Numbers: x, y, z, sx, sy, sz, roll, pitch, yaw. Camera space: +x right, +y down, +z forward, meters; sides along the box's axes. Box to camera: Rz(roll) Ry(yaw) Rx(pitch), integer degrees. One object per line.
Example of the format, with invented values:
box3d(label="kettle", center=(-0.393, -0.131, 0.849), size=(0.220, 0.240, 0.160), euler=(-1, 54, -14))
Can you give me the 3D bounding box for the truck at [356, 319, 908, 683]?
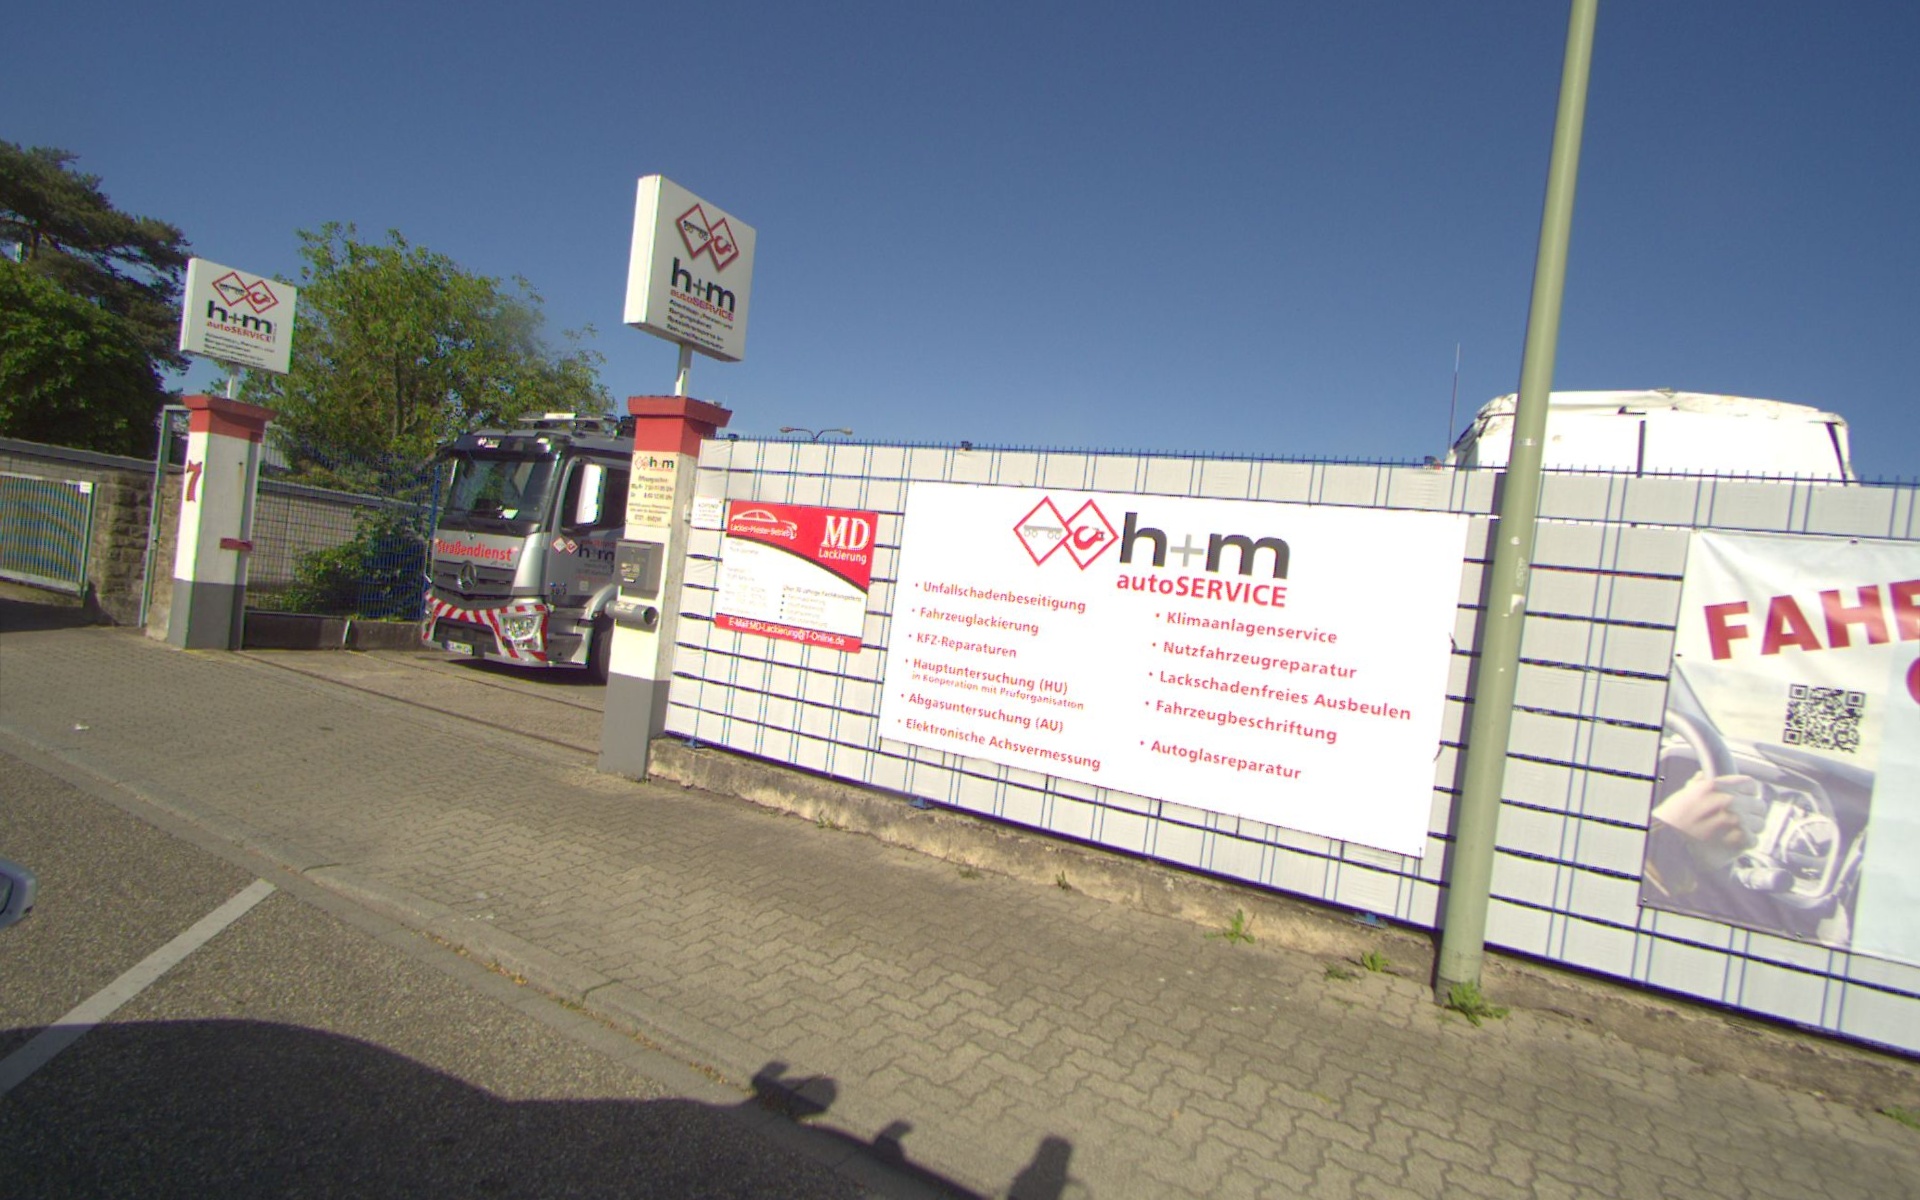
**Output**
box3d(label="truck", center=(-3.986, -0.925, 14.436), size=(2.783, 3.816, 7.391), euler=(7, 0, 27))
